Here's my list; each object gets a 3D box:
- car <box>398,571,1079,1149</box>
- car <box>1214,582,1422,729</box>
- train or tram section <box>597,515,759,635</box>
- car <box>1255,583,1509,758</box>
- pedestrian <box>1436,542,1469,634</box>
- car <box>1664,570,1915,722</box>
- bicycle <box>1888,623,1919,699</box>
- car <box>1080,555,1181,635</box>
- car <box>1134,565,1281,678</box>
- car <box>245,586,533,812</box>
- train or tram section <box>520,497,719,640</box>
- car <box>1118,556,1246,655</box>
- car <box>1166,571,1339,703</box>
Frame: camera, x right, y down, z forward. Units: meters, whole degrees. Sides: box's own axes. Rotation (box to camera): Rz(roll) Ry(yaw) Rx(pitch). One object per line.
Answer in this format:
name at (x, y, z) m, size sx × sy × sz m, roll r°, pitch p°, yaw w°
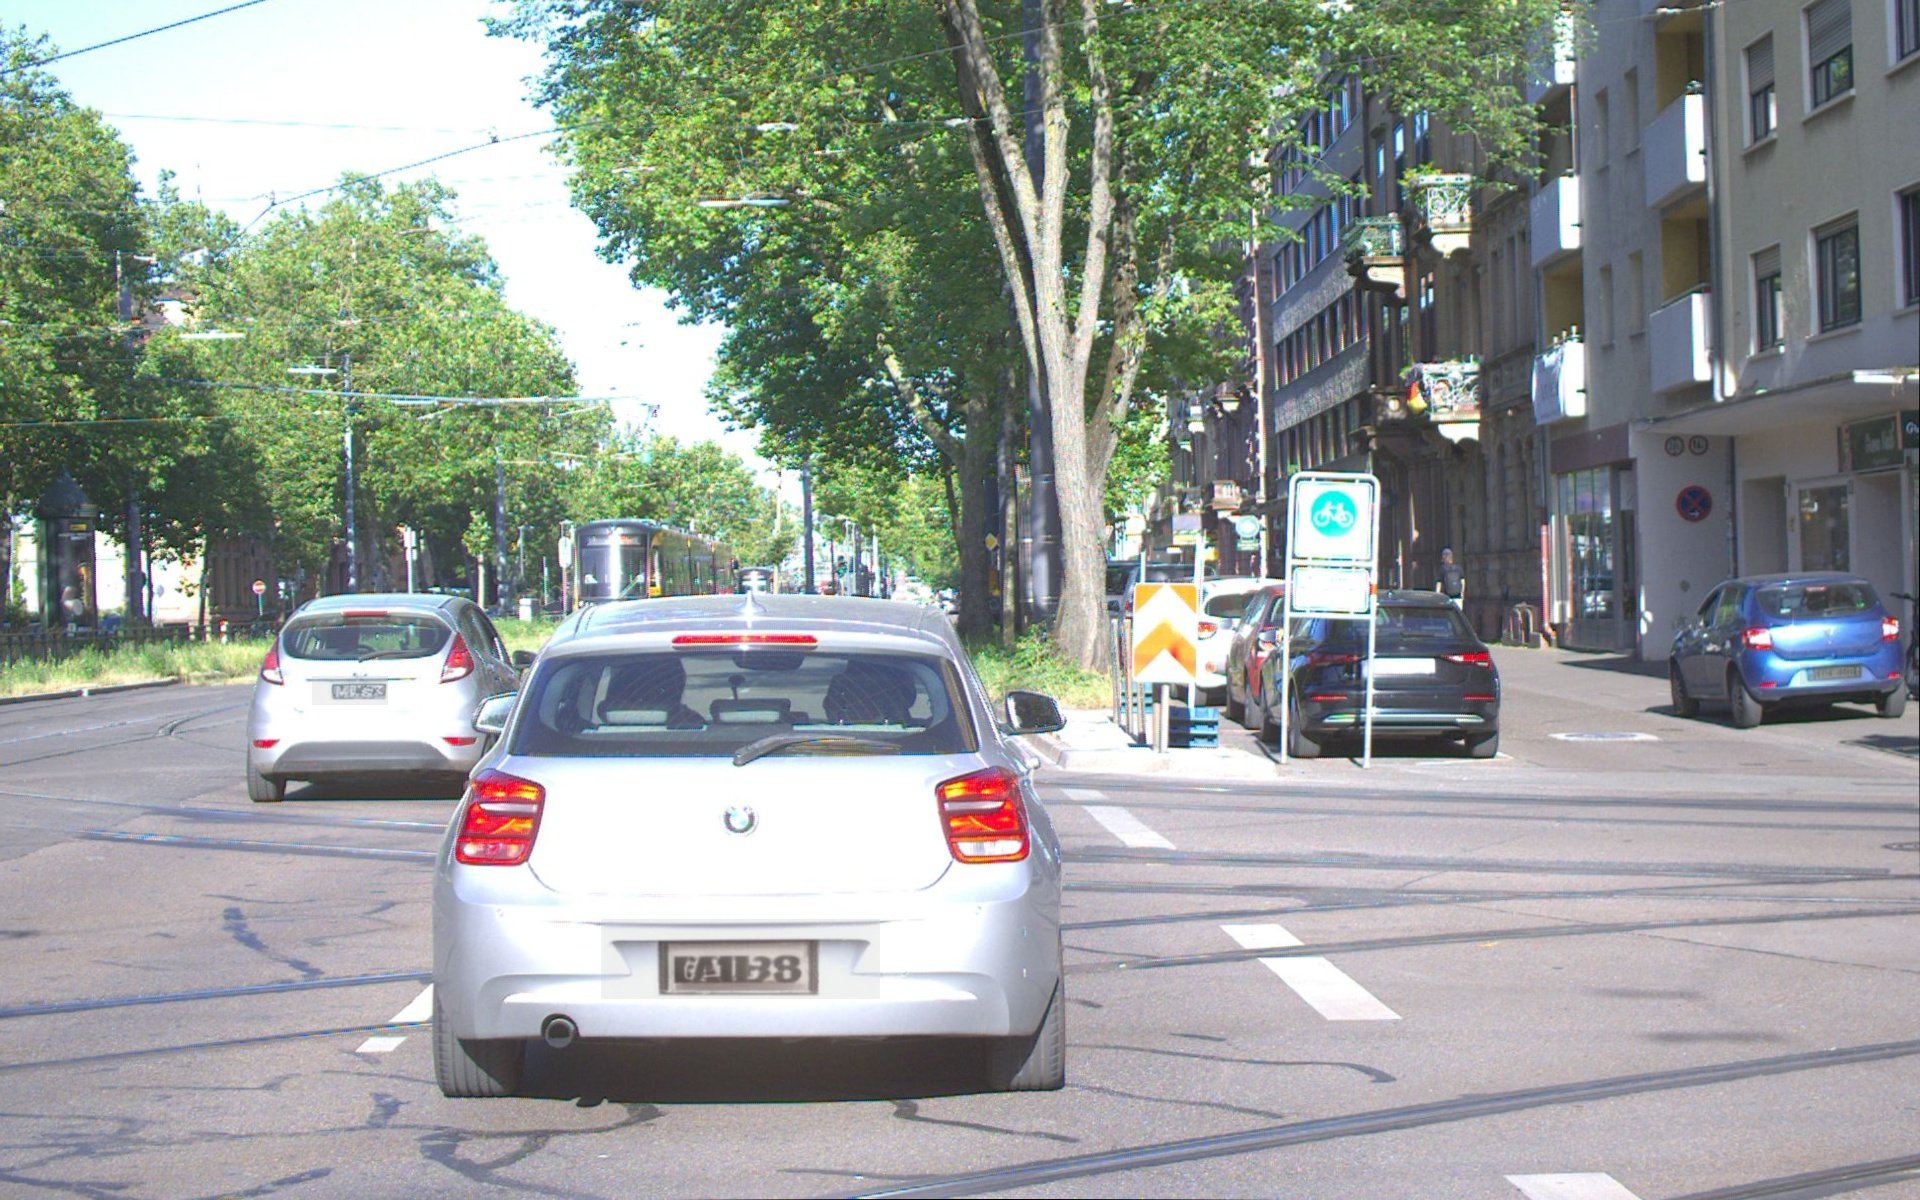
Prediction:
car at (-0.558, 0.652, 10.856) m, size 1.740 × 1.462 × 4.000 m, roll 1°, pitch 1°, yaw 0°
car at (3.664, 0.541, 35.704) m, size 1.743 × 1.428 × 3.555 m, roll 0°, pitch 1°, yaw -1°
train or tram section at (-9.629, -0.890, 119.921) m, size 4.005 × 3.852 × 17.488 m, roll -1°, pitch 1°, yaw 1°
car at (3.667, 0.579, 30.427) m, size 1.735 × 1.428 × 3.678 m, roll 0°, pitch 1°, yaw -1°
pedestrian at (9.729, -0.237, 67.993) m, size 0.505 × 1.796 × 0.805 m, roll -1°, pitch 0°, yaw 0°
car at (8.645, 0.443, 36.105) m, size 1.735 × 1.514 × 3.636 m, roll 0°, pitch 1°, yaw 0°
bicycle at (10.430, 0.642, 36.223) m, size 0.754 × 0.768 × 1.945 m, roll -1°, pitch 1°, yaw -1°
car at (3.265, -0.104, 66.480) m, size 1.724 × 1.502 × 3.555 m, roll 0°, pitch 1°, yaw -1°
car at (3.396, 0.272, 47.626) m, size 1.724 × 1.502 × 3.555 m, roll 0°, pitch 1°, yaw -1°
car at (-4.053, 0.651, 24.909) m, size 1.609 × 1.462 × 3.890 m, roll -1°, pitch 1°, yaw -3°
train or tram section at (-9.896, -0.949, 102.397) m, size 3.969 × 3.852 × 17.488 m, roll -1°, pitch 1°, yaw 1°
car at (3.470, 0.073, 54.186) m, size 1.724 × 1.502 × 3.555 m, roll 0°, pitch 1°, yaw -1°
car at (3.478, 0.413, 41.374) m, size 1.724 × 1.502 × 3.555 m, roll 0°, pitch 1°, yaw -1°
